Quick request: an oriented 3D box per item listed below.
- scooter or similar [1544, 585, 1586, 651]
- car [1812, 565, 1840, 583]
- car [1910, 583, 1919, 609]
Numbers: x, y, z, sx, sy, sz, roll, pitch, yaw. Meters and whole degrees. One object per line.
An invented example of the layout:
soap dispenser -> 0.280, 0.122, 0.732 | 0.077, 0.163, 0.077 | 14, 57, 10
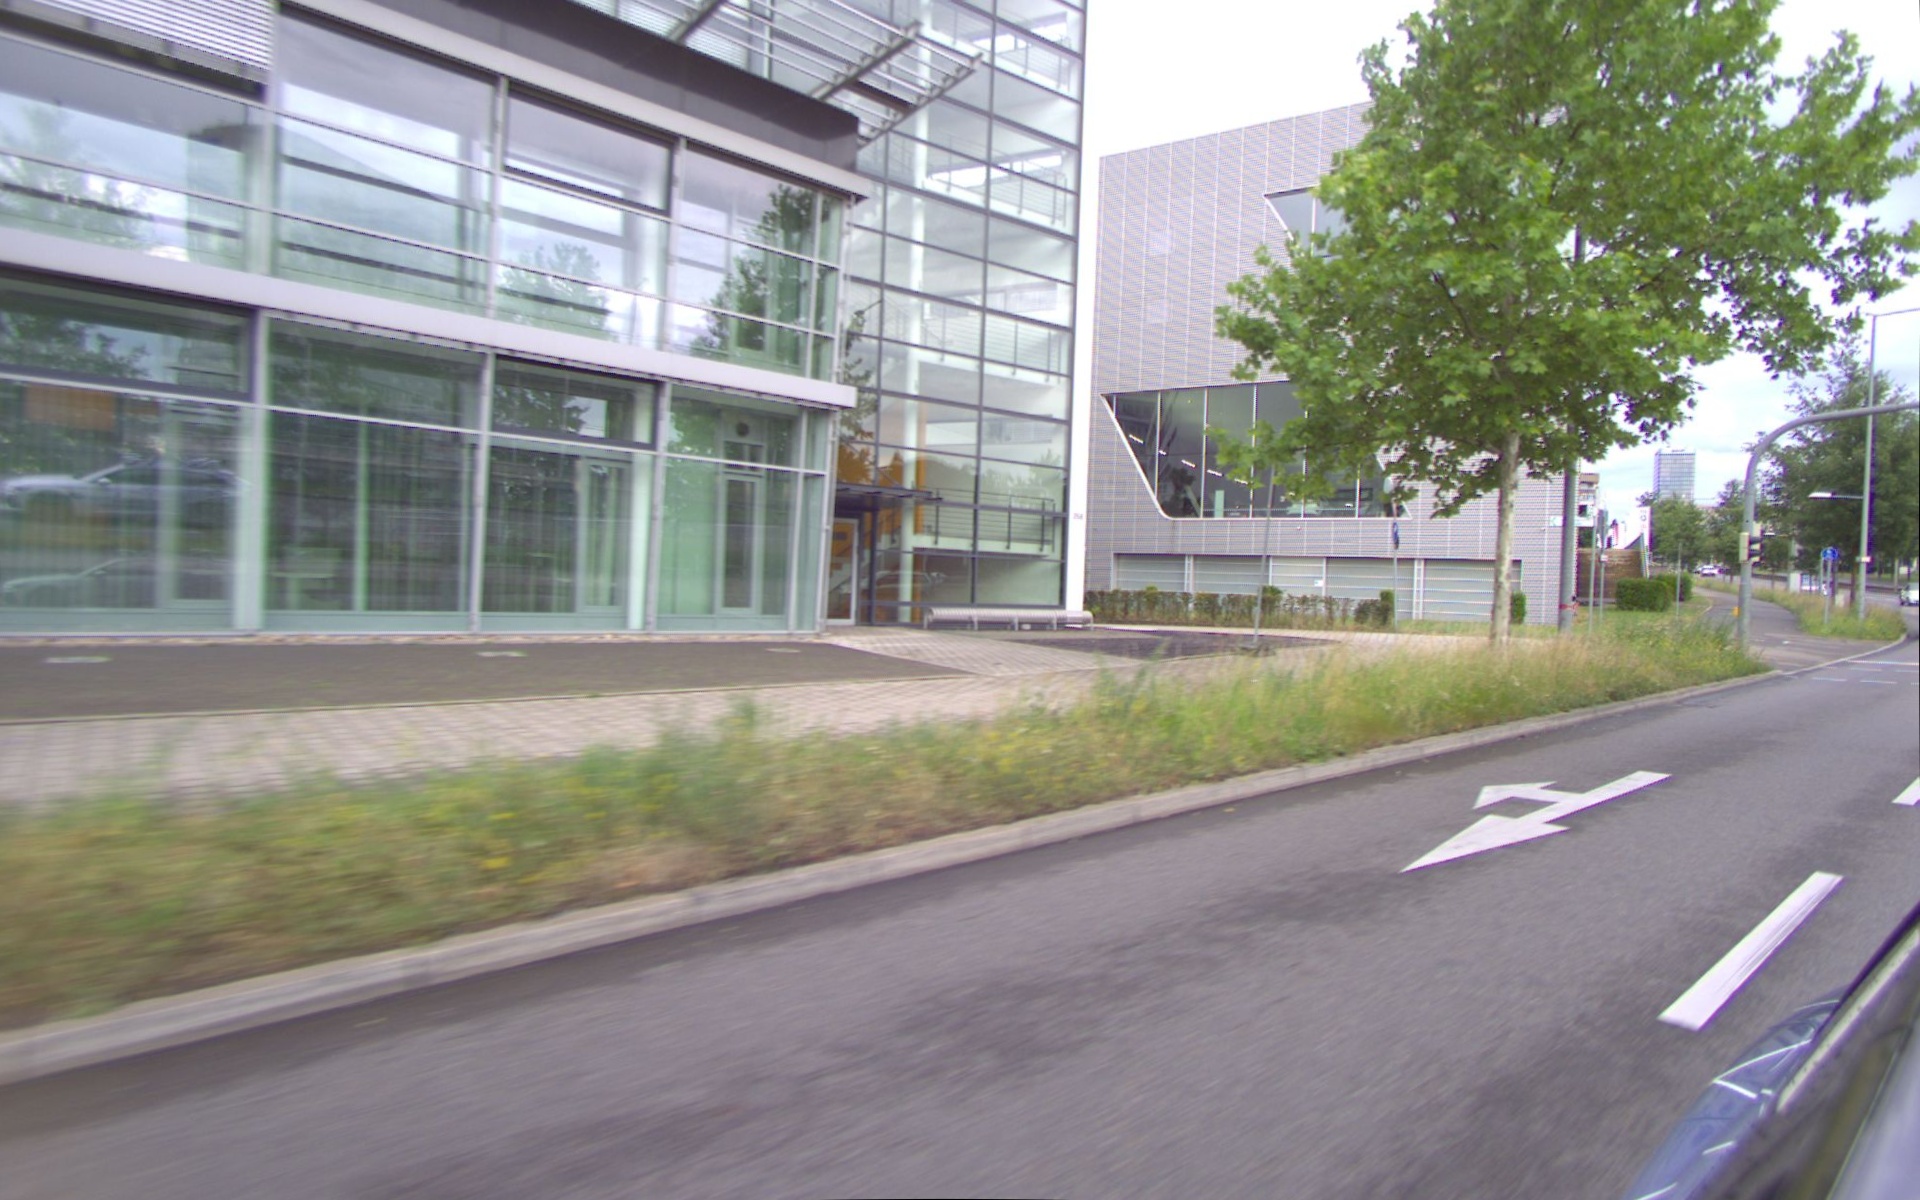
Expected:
scooter or similar -> 12.484, 0.343, 20.877 | 0.457, 1.278, 1.317 | 4, 4, 41
car -> 101.584, -3.060, 118.753 | 1.985, 2.038, 3.955 | 0, 3, 33
car -> 64.772, -0.240, 67.192 | 1.850, 1.703, 4.062 | 2, 2, 35
